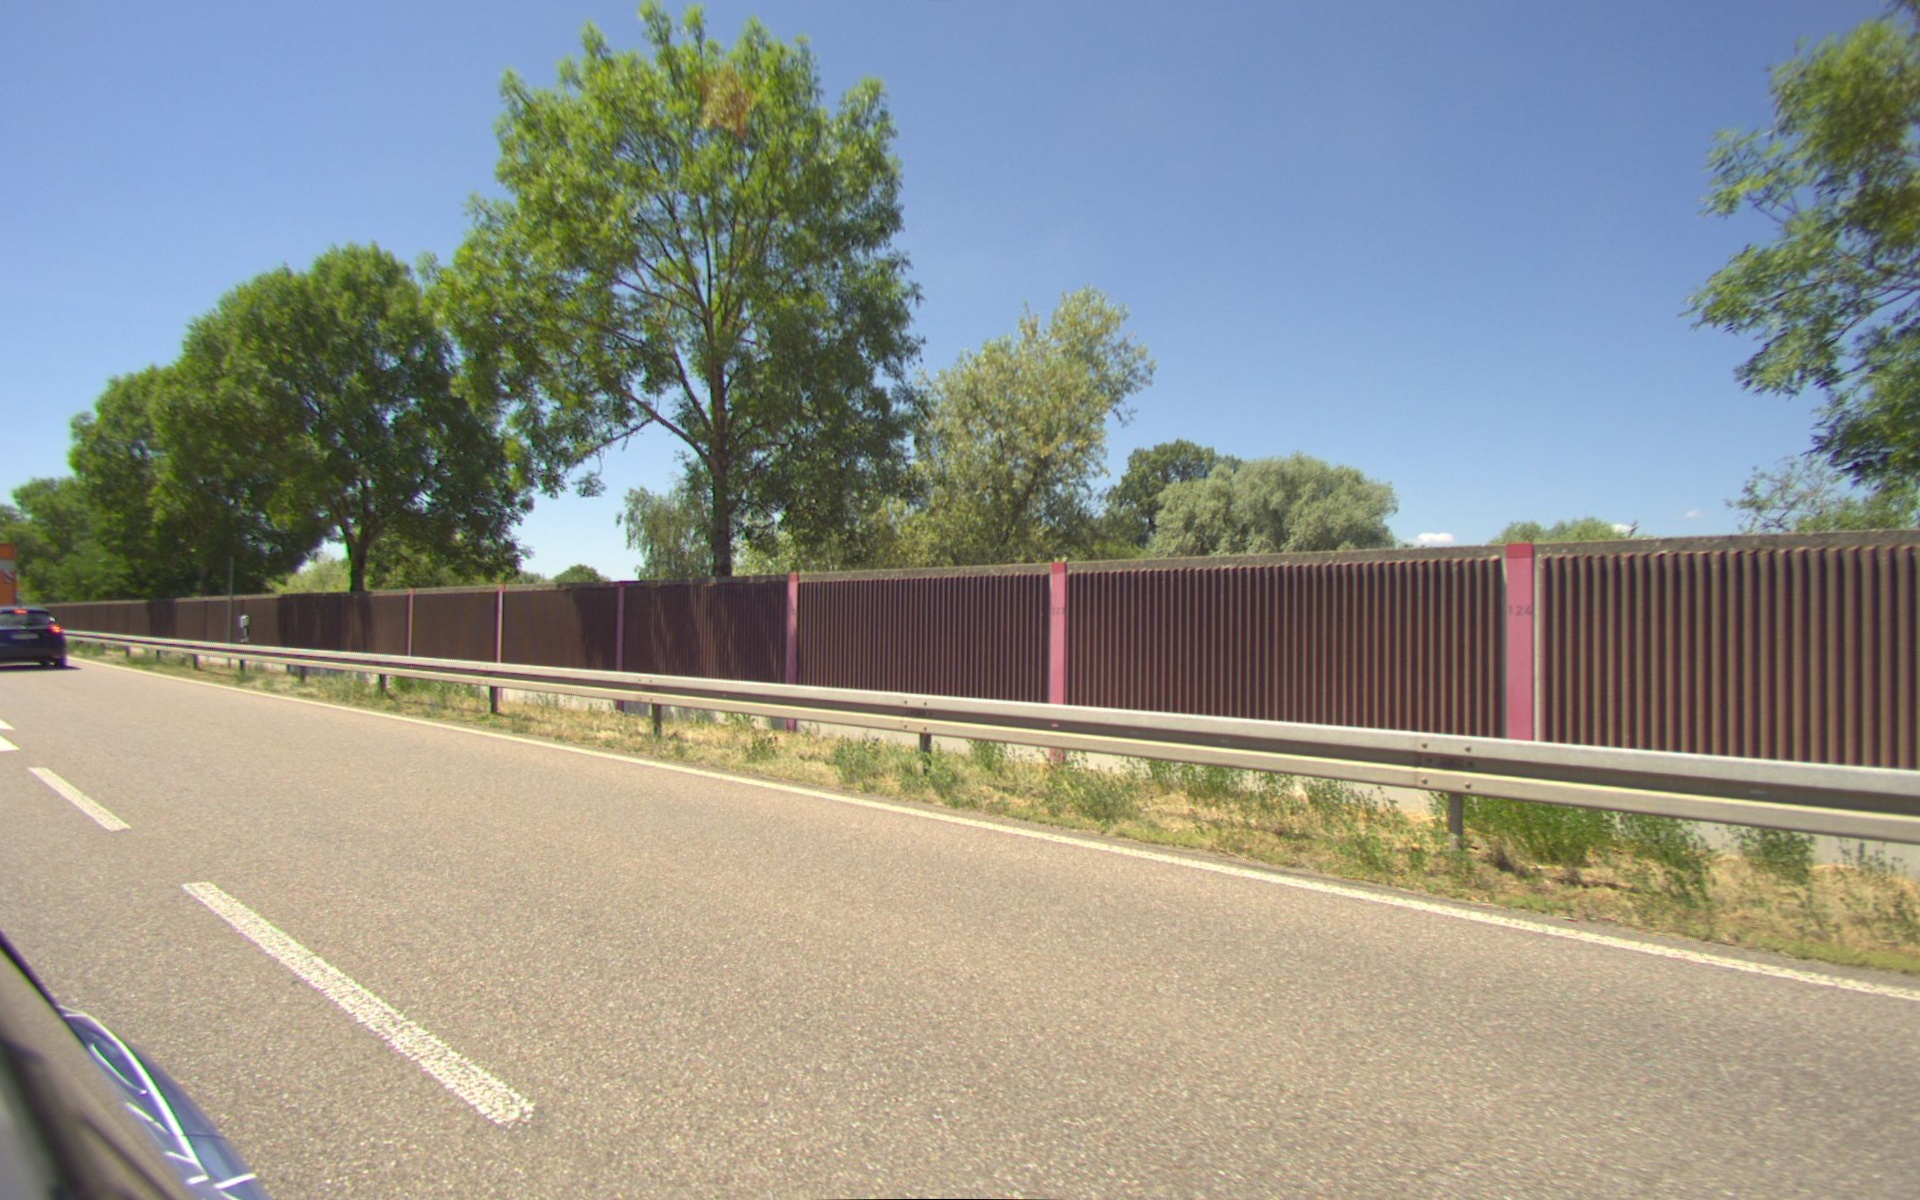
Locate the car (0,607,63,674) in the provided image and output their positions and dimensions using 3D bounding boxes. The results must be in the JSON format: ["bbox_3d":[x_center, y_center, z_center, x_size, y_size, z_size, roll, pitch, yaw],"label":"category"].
[{"bbox_3d":[-24.023,0.995,25.560,3.761,1.589,1.605,-2,-2,42],"label":"car"}]

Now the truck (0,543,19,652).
[{"bbox_3d":[-38.283,-0.065,38.507,9.321,3.869,2.763,0,0,42],"label":"truck"}]
